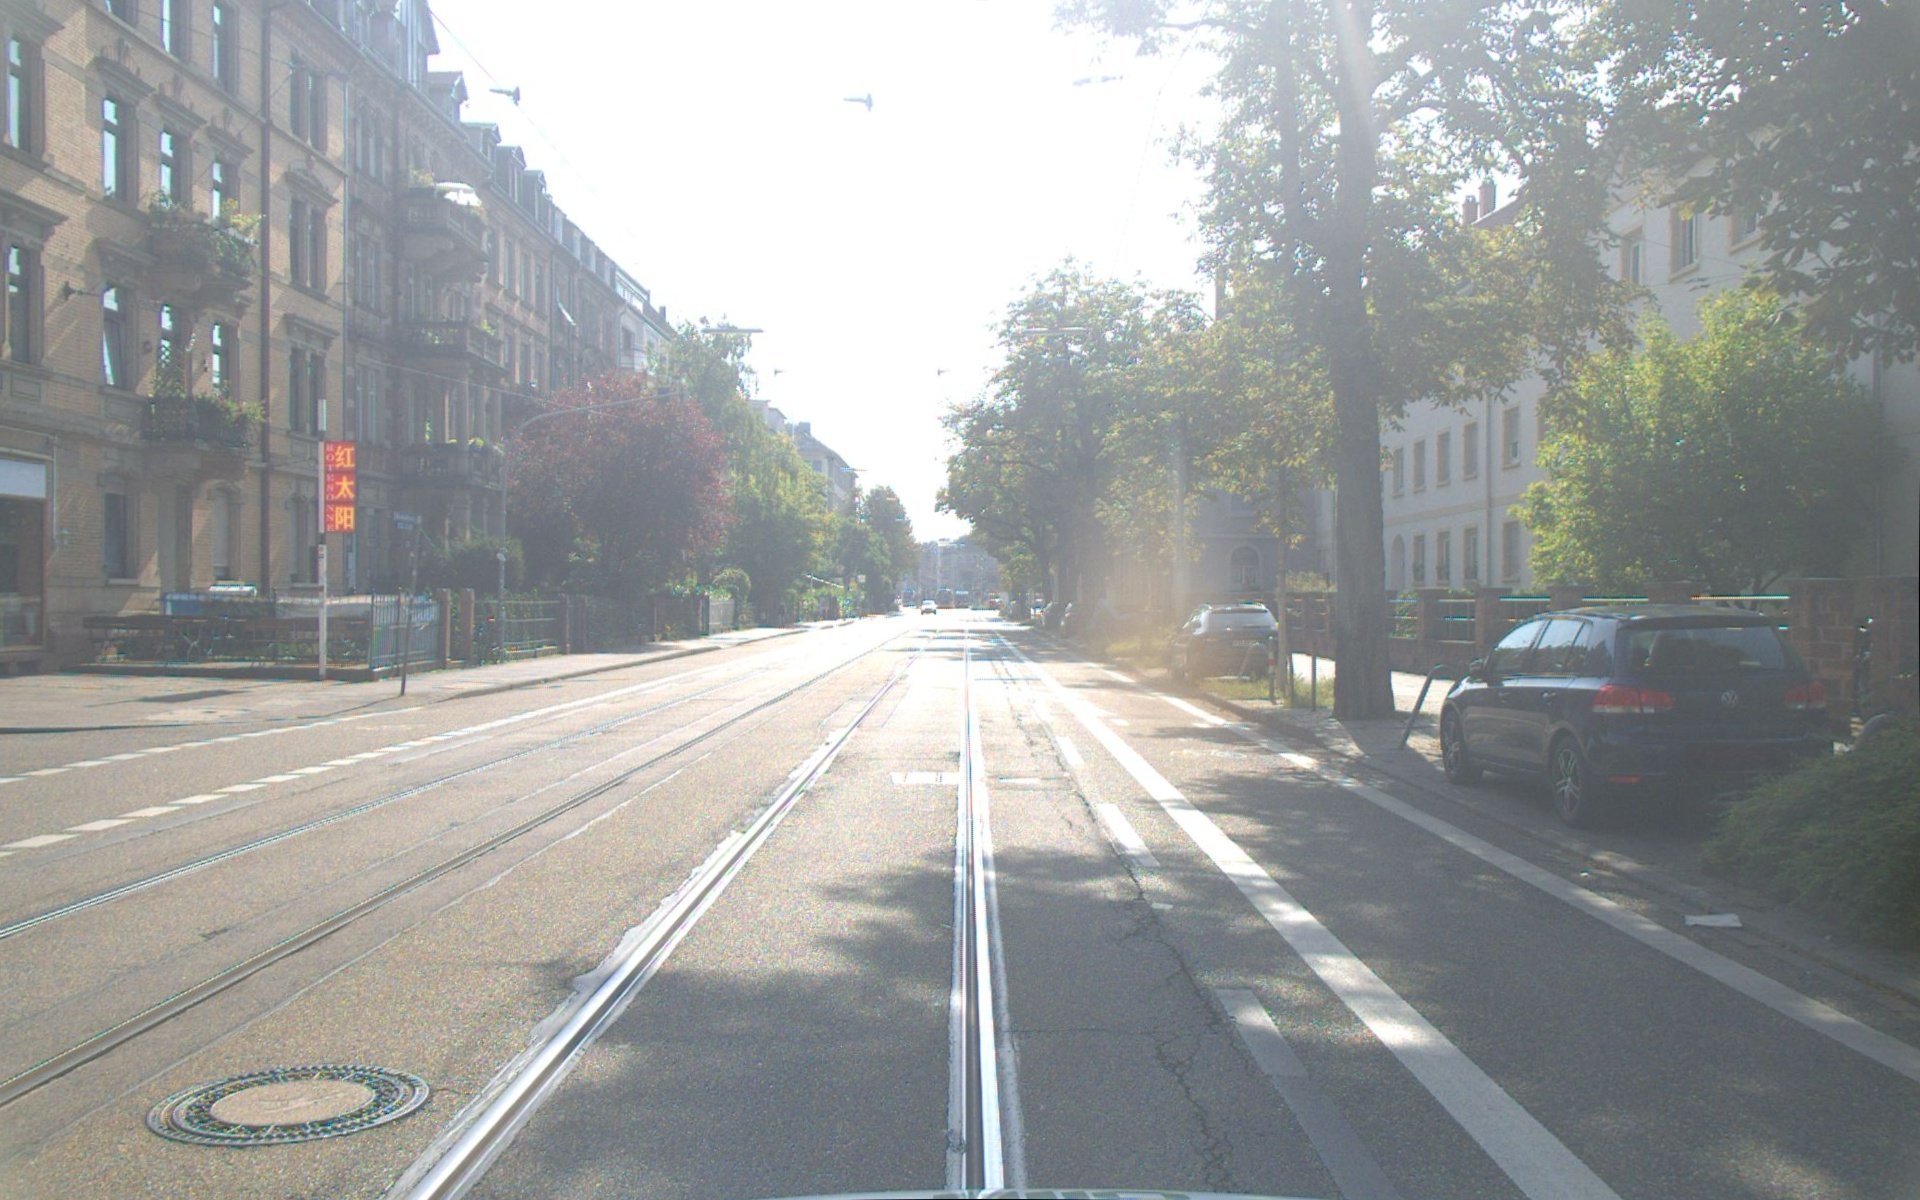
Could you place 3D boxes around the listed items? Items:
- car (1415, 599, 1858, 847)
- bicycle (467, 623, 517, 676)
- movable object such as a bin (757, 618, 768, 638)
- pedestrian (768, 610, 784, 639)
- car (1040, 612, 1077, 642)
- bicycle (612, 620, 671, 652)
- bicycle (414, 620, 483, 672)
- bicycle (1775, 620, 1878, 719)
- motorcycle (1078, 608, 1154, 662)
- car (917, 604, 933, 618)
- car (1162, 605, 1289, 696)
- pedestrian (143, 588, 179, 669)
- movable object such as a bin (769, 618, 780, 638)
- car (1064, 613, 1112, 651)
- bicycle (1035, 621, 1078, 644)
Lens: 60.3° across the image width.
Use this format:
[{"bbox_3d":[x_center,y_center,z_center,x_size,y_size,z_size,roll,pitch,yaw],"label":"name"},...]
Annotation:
[{"bbox_3d":[4.893,0.808,12.636,1.655,1.528,4.095,-2,-1,0],"label":"car"},{"bbox_3d":[-10.354,1.084,36.646,0.498,1.127,2.003,0,-1,1],"label":"bicycle"},{"bbox_3d":[-10.881,1.535,91.159,0.578,1.097,0.704,0,-1,-6],"label":"movable object such as a bin"},{"bbox_3d":[-10.165,1.353,91.338,0.737,1.619,0.878,0,-1,1],"label":"pedestrian"},{"bbox_3d":[5.145,1.438,86.757,1.735,1.499,3.974,0,-1,1],"label":"car"},{"bbox_3d":[-11.319,1.283,58.821,1.975,1.123,0.588,0,-1,-3],"label":"bicycle"},{"bbox_3d":[-11.005,0.991,35.618,1.330,1.078,0.417,2,-1,-3],"label":"bicycle"},{"bbox_3d":[9.880,0.773,18.909,0.407,1.078,1.488,0,-1,1],"label":"bicycle"},{"bbox_3d":[5.060,1.144,53.802,0.907,1.703,2.379,-2,0,-45],"label":"motorcycle"},{"bbox_3d":[-4.025,1.265,190.271,1.691,1.666,3.984,0,-1,0],"label":"car"},{"bbox_3d":[4.959,0.907,31.444,1.707,1.588,4.719,0,-1,1],"label":"car"},{"bbox_3d":[-17.023,0.601,35.251,0.540,1.696,0.579,0,-1,-11],"label":"pedestrian"},{"bbox_3d":[-10.225,1.557,91.228,0.619,1.097,0.704,0,-1,-6],"label":"movable object such as a bin"},{"bbox_3d":[5.379,1.323,69.730,1.691,1.531,3.984,-1,-1,0],"label":"car"},{"bbox_3d":[4.847,1.637,82.993,2.066,1.125,0.562,0,-1,-7],"label":"bicycle"}]
